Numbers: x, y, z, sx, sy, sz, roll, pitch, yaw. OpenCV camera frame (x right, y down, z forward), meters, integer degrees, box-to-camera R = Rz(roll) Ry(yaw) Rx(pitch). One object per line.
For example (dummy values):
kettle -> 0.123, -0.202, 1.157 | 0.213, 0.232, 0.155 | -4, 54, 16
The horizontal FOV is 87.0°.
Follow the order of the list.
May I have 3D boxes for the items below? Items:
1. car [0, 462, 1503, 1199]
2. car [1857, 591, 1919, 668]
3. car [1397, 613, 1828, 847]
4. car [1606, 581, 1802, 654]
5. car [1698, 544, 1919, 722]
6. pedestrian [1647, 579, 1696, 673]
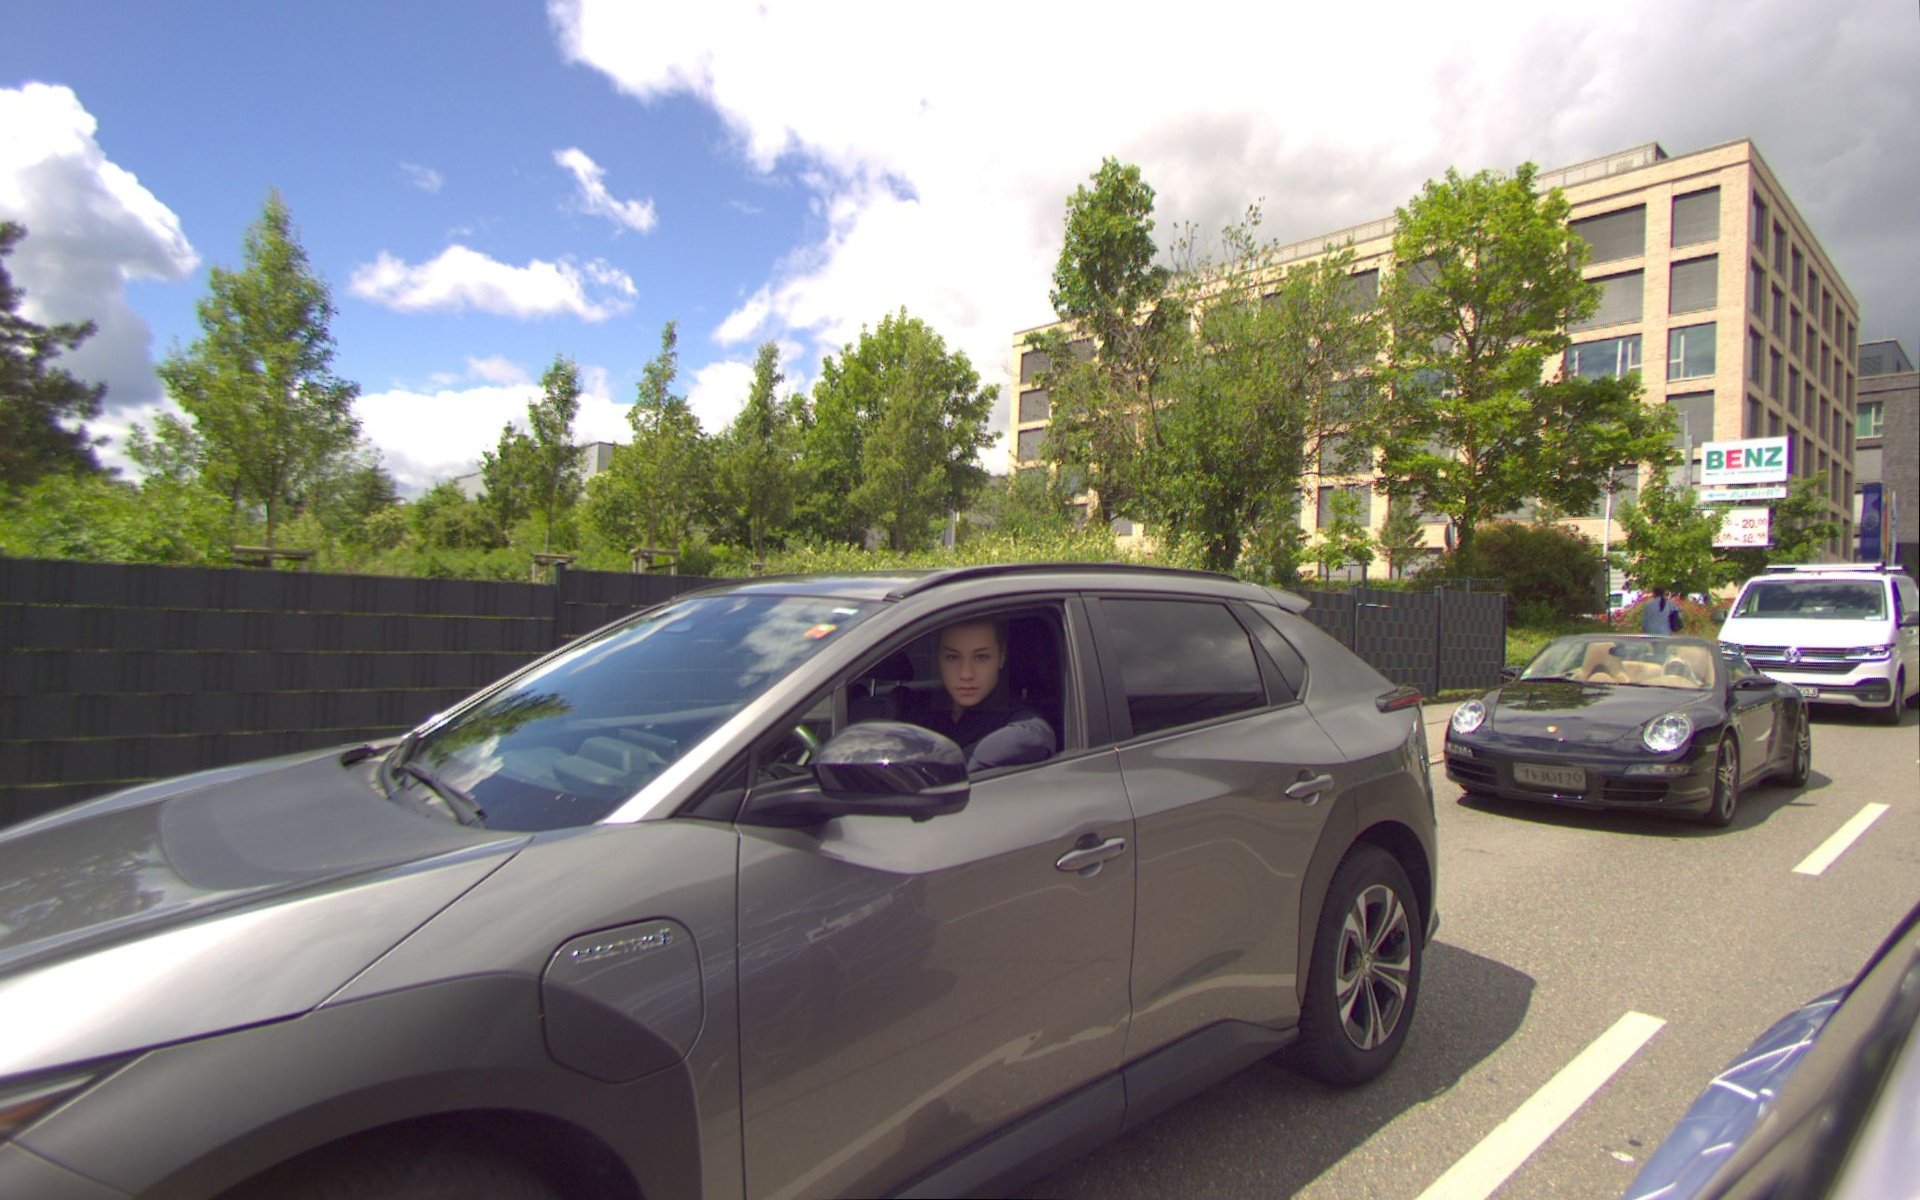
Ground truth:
car -> -0.401, 0.662, 2.875 | 4.501, 1.649, 1.997 | 0, 1, -42
car -> 20.237, 0.586, 21.073 | 3.930, 1.481, 1.817 | 0, 2, -41
car -> 5.271, 0.794, 7.975 | 3.967, 1.310, 1.823 | 0, 0, -41
car -> 19.975, 0.408, 27.273 | 1.793, 1.754, 3.991 | 0, 2, -44
car -> 12.193, 0.375, 14.097 | 4.677, 2.075, 2.087 | 0, 0, -41
pedestrian -> 12.954, 0.456, 18.426 | 0.435, 1.678, 0.631 | 0, 1, -42
